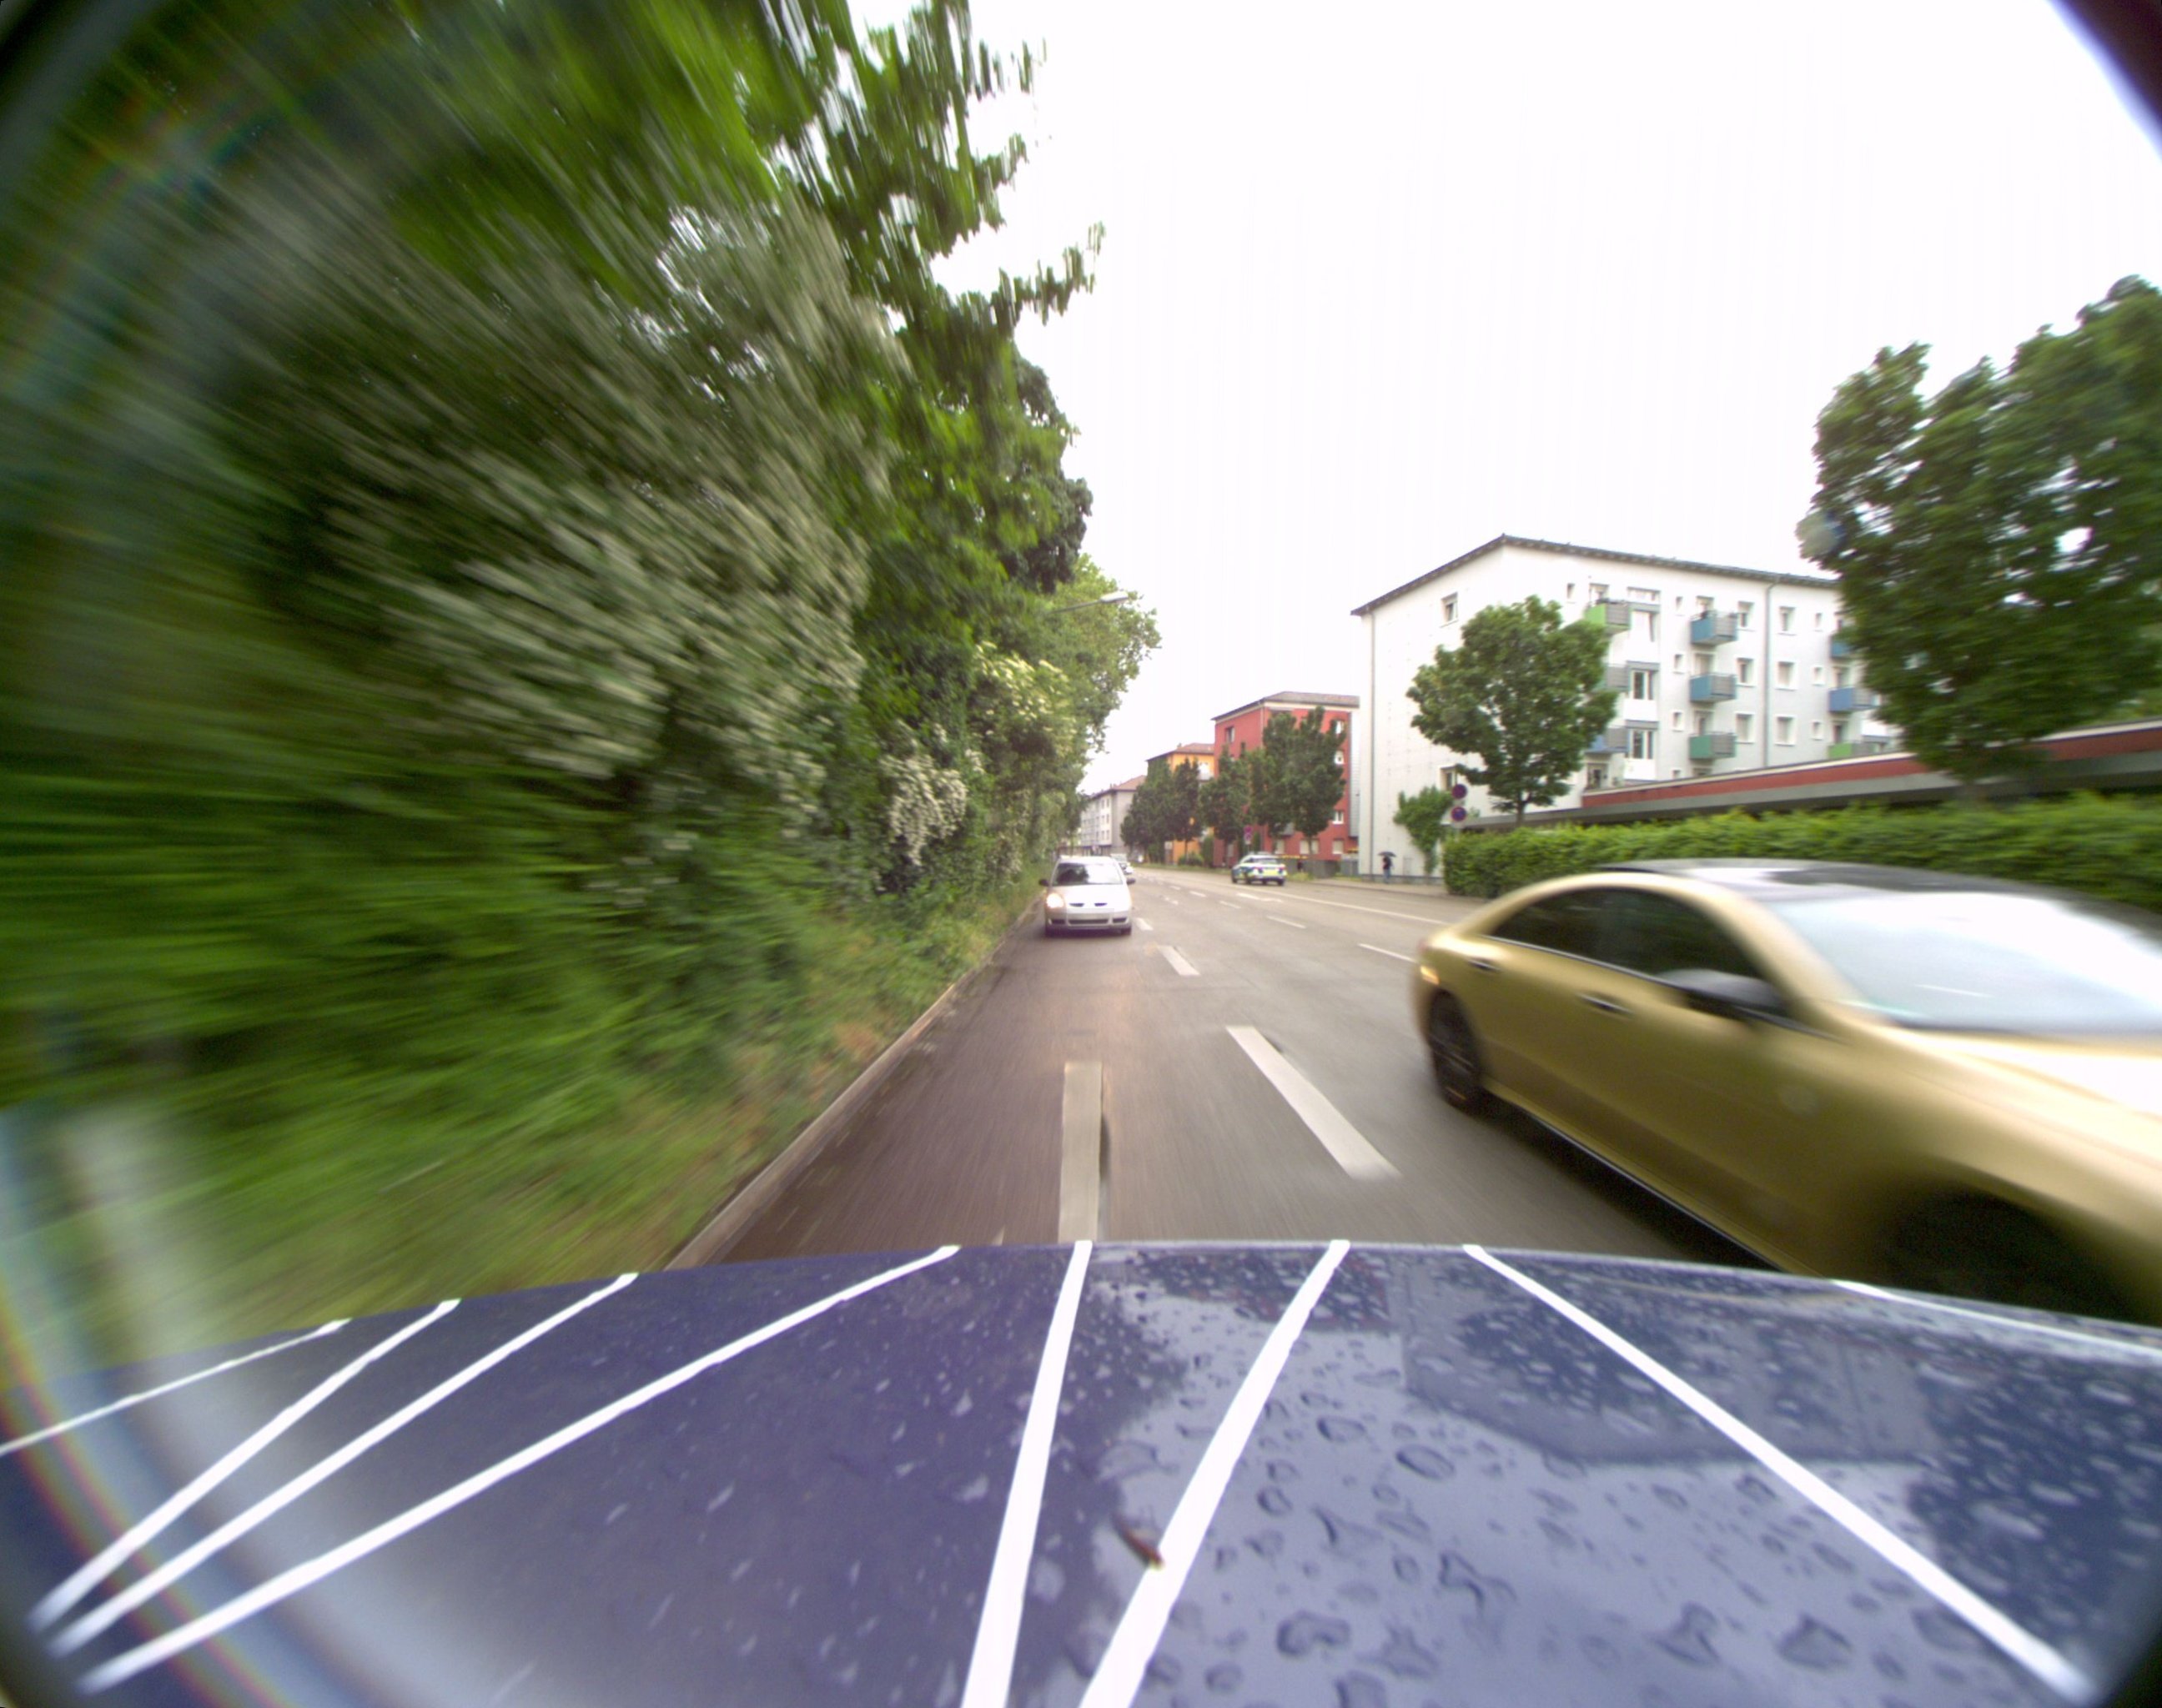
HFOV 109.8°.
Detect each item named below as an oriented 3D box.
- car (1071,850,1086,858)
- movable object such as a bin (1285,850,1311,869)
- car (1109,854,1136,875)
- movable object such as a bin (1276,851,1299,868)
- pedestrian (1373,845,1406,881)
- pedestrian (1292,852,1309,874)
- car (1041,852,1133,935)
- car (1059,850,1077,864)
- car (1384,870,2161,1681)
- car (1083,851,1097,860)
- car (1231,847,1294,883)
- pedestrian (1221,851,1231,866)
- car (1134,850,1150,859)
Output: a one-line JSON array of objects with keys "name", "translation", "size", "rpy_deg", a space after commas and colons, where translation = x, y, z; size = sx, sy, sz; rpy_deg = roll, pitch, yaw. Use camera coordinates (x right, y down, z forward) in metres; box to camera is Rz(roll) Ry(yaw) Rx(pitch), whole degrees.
[{"name": "car", "translation": [-0.465, 0.064, 137.990], "size": [1.880, 1.382, 4.622], "rpy_deg": [2, 0, -10]}, {"name": "movable object such as a bin", "translation": [16.565, 0.419, 58.125], "size": [1.219, 1.476, 2.086], "rpy_deg": [0, 0, -6]}, {"name": "car", "translation": [3.317, 0.808, 61.533], "size": [1.736, 1.590, 3.998], "rpy_deg": [0, 1, -3]}, {"name": "movable object such as a bin", "translation": [16.352, 0.440, 60.292], "size": [1.161, 1.323, 1.965], "rpy_deg": [0, 0, -6]}, {"name": "pedestrian", "translation": [15.669, 0.463, 38.607], "size": [1.137, 1.793, 1.262], "rpy_deg": [0, 0, -3]}, {"name": "pedestrian", "translation": [14.855, 0.593, 51.530], "size": [0.694, 1.508, 1.068], "rpy_deg": [0, 0, -9]}, {"name": "car", "translation": [0.138, 0.758, 16.692], "size": [1.755, 1.586, 4.169], "rpy_deg": [0, 0, 1]}, {"name": "car", "translation": [-1.824, 0.421, 104.472], "size": [2.000, 1.815, 3.996], "rpy_deg": [-2, 1, -8]}, {"name": "car", "translation": [3.116, 0.844, 2.985], "size": [2.071, 1.455, 4.586], "rpy_deg": [0, 0, 1]}, {"name": "car", "translation": [1.635, 0.178, 141.363], "size": [1.853, 1.536, 4.243], "rpy_deg": [-2, 1, -10]}, {"name": "car", "translation": [9.107, 0.510, 38.554], "size": [1.999, 1.739, 4.807], "rpy_deg": [0, 0, -1]}, {"name": "pedestrian", "translation": [13.562, 0.409, 70.902], "size": [0.673, 1.441, 0.835], "rpy_deg": [0, 0, -9]}, {"name": "car", "translation": [10.602, 0.102, 132.147], "size": [1.736, 1.516, 4.224], "rpy_deg": [1, 0, -11]}]
